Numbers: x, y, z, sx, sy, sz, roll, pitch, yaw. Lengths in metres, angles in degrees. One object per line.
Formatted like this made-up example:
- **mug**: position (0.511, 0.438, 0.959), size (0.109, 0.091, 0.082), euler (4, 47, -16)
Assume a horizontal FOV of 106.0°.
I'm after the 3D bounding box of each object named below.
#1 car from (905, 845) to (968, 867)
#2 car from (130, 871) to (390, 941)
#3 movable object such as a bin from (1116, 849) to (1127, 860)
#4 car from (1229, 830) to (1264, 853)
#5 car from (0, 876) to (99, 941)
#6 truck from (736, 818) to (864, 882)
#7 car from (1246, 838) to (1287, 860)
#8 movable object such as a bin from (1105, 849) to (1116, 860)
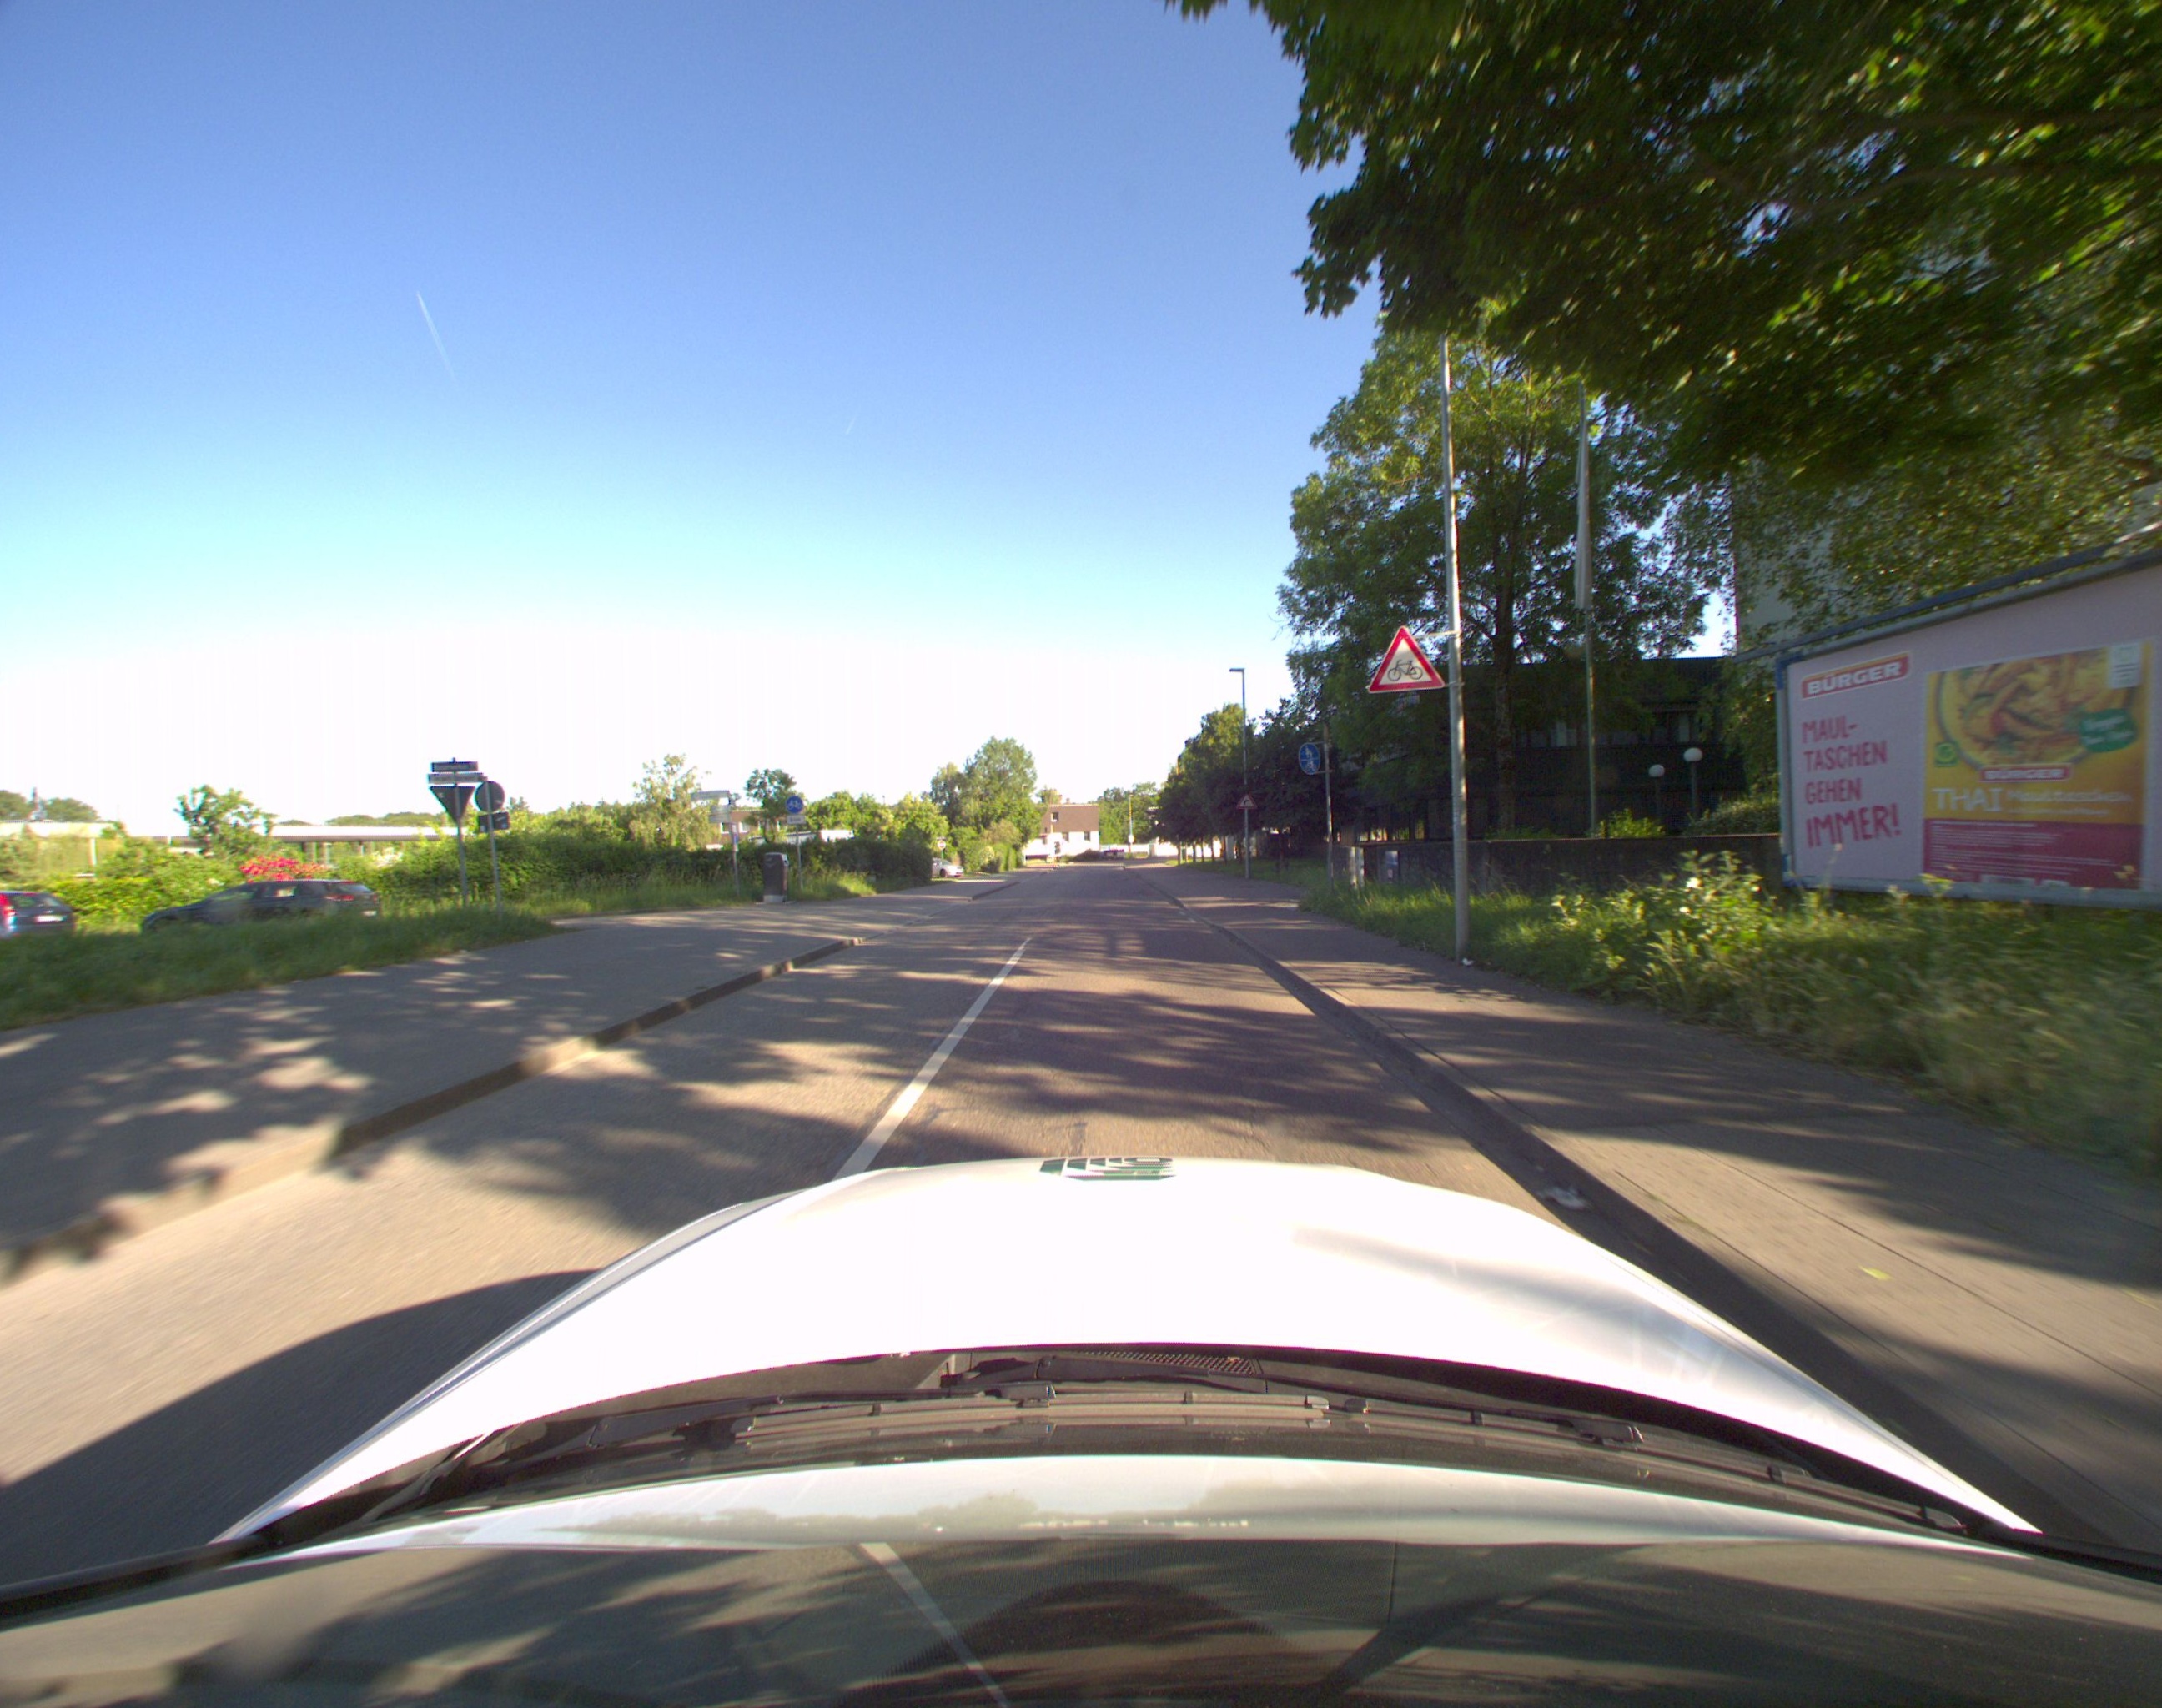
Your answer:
- **car**: position (-10.375, 0.177, 58.577), size (4.171, 1.490, 1.888), euler (-1, -1, 28)
- **car**: position (-19.710, 1.219, 19.763), size (4.026, 1.448, 1.881), euler (-2, -2, -12)
- **movable object such as a bin**: position (5.410, 0.097, 109.996), size (1.363, 1.418, 1.063), euler (0, -1, -6)
- **car**: position (14.067, -1.042, 69.590), size (1.831, 1.814, 4.660), euler (0, -1, -3)
- **car**: position (-25.964, 1.317, 18.704), size (4.026, 1.448, 1.881), euler (-2, -2, -12)
- **truck**: position (-19.097, -0.165, 55.073), size (9.215, 3.883, 2.728), euler (-2, -2, 30)
- **car**: position (12.957, -0.342, 57.026), size (1.830, 1.466, 4.276), euler (0, -1, -1)
- **movable object such as a bin**: position (4.028, 0.101, 109.799), size (1.363, 1.418, 1.063), euler (0, -1, -6)
